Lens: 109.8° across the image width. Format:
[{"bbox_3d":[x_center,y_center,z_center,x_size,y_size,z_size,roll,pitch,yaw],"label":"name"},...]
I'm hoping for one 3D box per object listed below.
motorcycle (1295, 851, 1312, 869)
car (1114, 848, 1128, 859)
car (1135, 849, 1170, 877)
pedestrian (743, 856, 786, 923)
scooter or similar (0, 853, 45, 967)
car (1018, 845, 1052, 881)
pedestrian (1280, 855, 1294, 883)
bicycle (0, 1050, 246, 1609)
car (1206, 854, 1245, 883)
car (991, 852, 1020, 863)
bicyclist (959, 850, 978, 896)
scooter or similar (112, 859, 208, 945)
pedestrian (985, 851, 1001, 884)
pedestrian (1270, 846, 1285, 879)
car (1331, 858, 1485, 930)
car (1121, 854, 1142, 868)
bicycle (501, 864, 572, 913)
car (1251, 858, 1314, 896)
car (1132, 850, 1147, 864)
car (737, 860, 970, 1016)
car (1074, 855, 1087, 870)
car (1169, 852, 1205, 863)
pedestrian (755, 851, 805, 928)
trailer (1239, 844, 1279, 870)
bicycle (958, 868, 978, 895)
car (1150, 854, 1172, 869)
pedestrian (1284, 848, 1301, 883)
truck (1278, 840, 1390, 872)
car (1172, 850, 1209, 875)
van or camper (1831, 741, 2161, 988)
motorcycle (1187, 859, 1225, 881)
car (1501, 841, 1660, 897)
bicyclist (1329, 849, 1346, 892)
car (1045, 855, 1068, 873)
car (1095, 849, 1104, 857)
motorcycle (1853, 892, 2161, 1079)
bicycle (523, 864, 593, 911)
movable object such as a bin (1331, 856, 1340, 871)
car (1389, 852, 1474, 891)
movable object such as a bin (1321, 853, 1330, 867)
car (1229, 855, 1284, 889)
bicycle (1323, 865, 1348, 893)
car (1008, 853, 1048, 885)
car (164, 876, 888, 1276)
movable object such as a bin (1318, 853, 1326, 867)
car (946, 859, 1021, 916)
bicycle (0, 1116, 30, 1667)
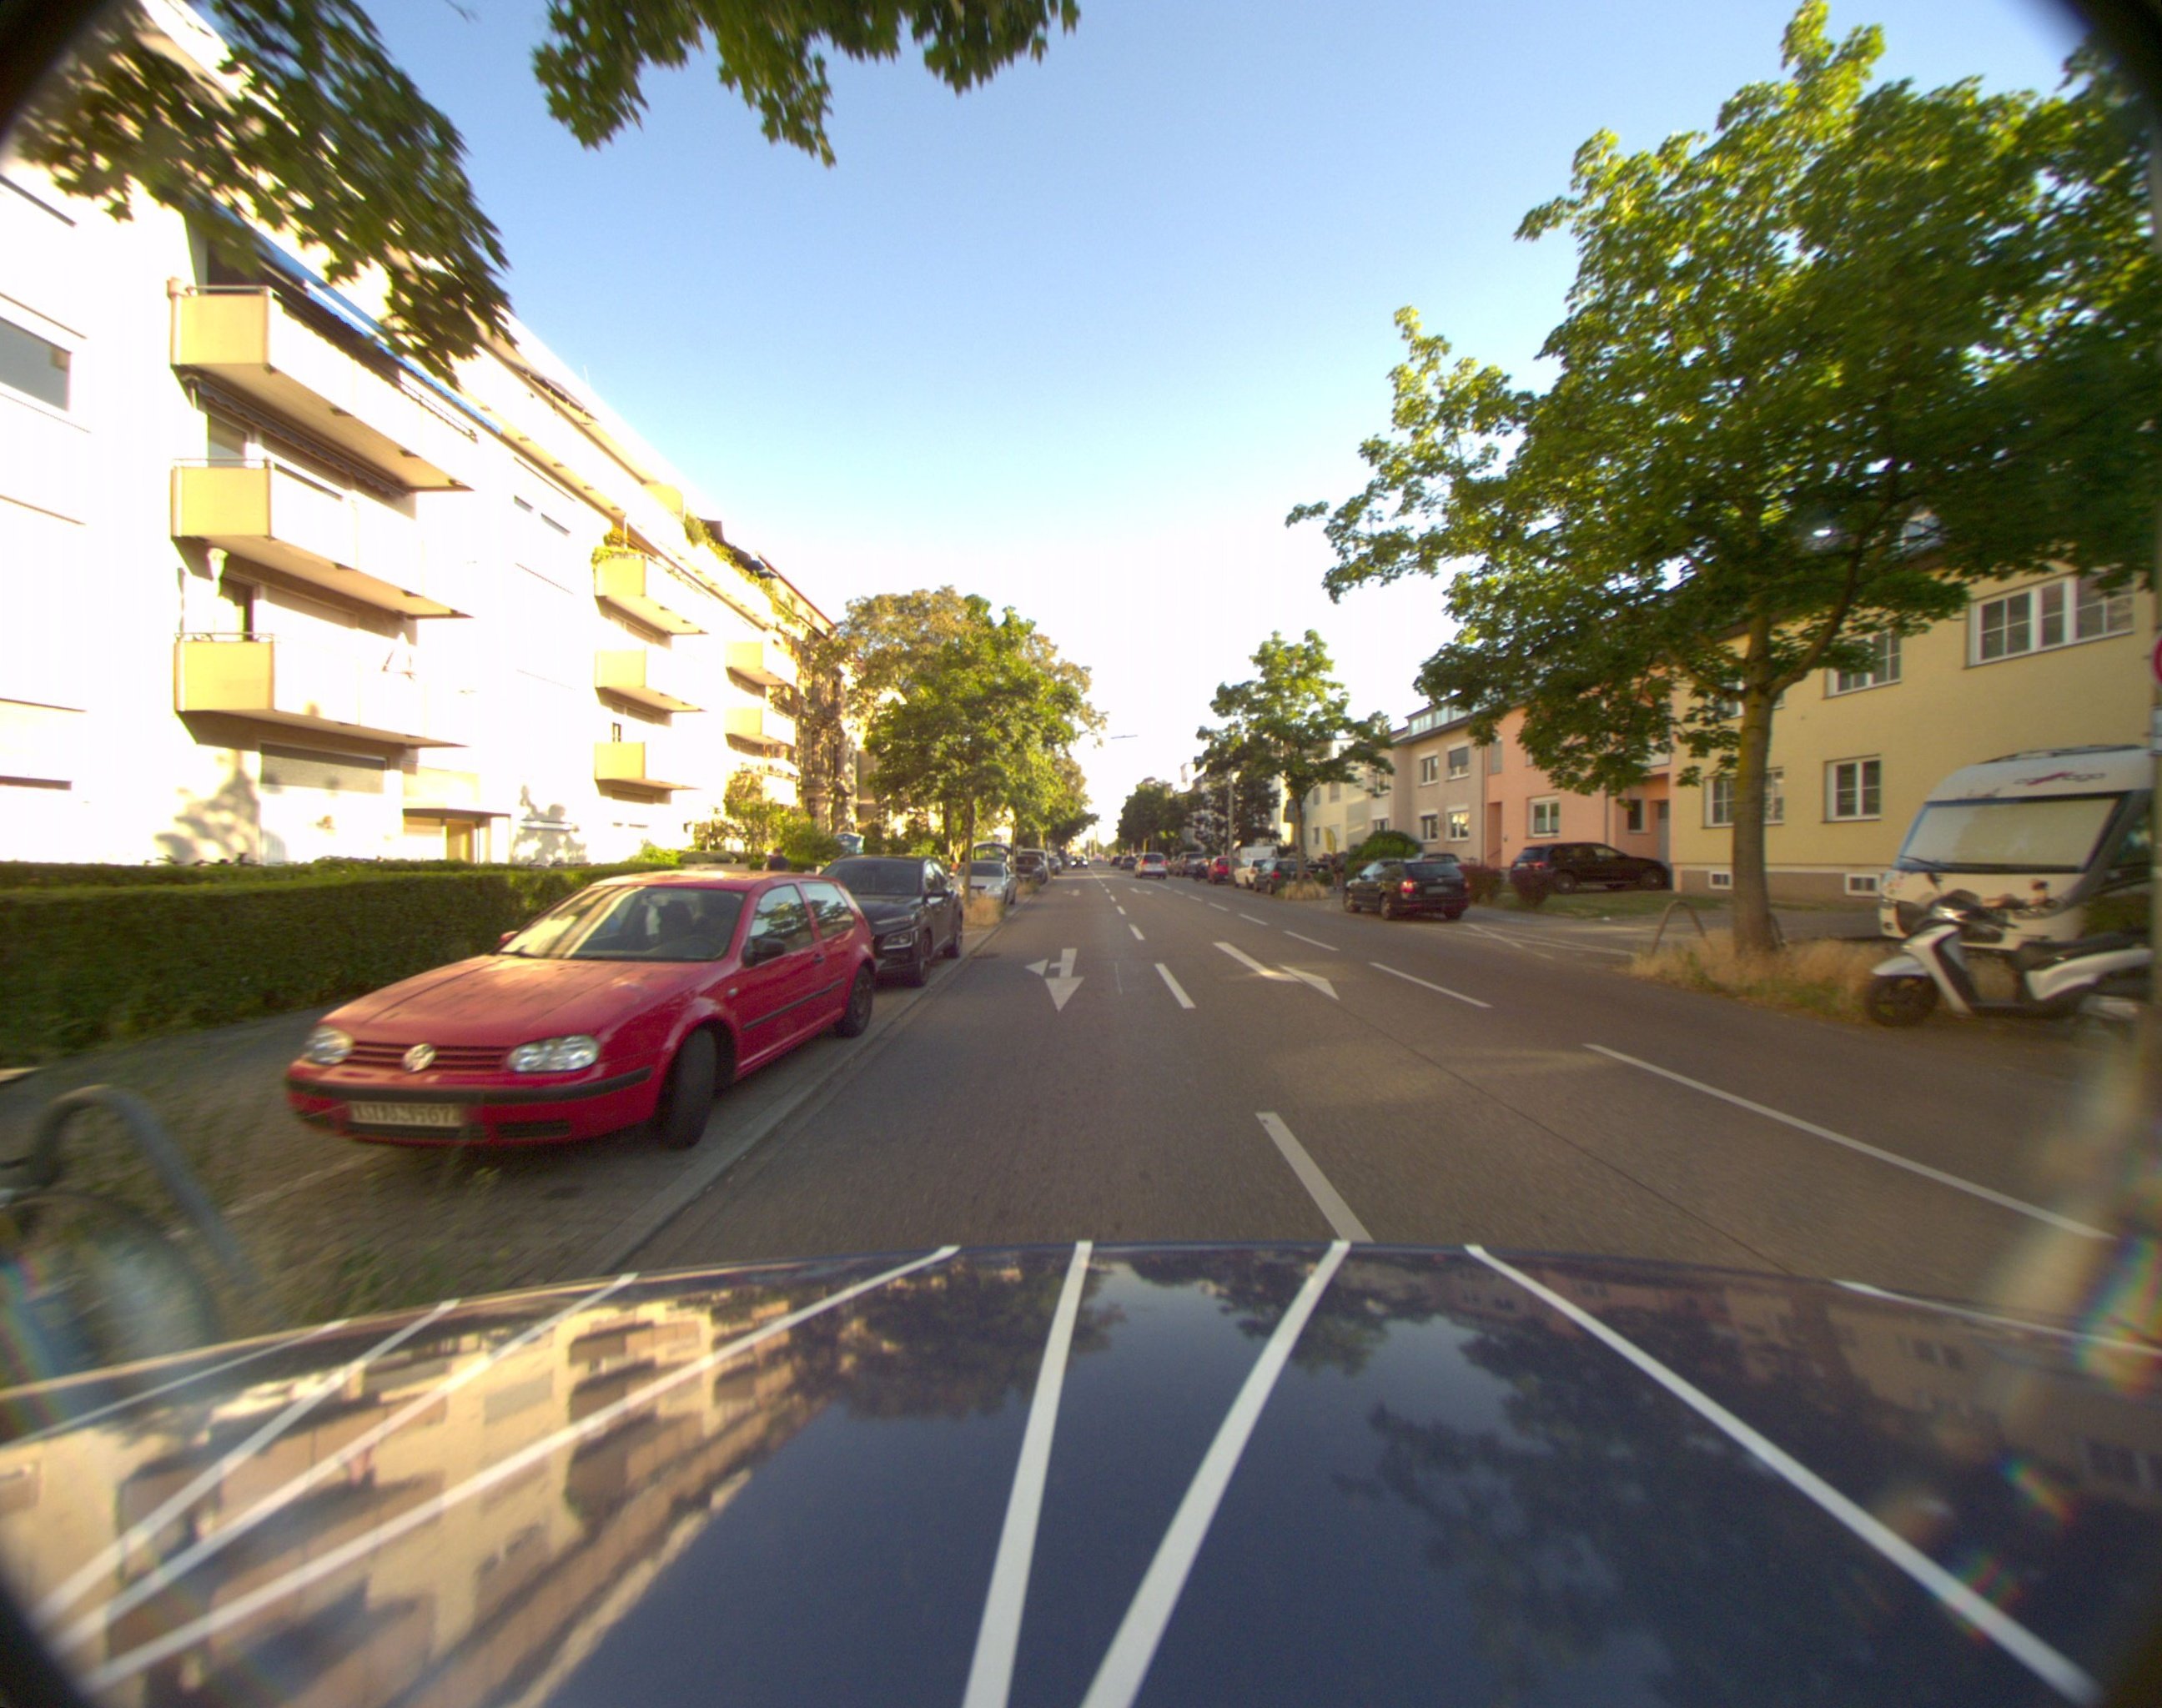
[{"bbox_3d":[17.066,0.436,58.275,0.572,1.366,2.258,1,1,0],"label":"motorcycle"},{"bbox_3d":[5.804,-0.100,110.467,1.840,1.561,3.999,2,1,0],"label":"car"},{"bbox_3d":[4.808,0.586,51.597,1.810,1.794,4.745,1,0,0],"label":"car"},{"bbox_3d":[-7.370,0.808,17.704,0.592,1.531,0.697,1,1,37],"label":"pedestrian"},{"bbox_3d":[-13.890,0.704,9.620,0.616,1.433,0.668,0,1,0],"label":"scooter or similar"},{"bbox_3d":[-2.808,0.534,47.206,1.908,2.091,4.640,0,0,-2],"label":"car"},{"bbox_3d":[10.792,0.782,39.855,0.591,1.487,0.542,0,1,3],"label":"pedestrian"},{"bbox_3d":[-3.010,1.070,1.827,1.574,1.097,0.392,0,1,1],"label":"bicycle"},{"bbox_3d":[7.861,0.741,41.569,1.596,1.514,3.437,0,0,3],"label":"car"},{"bbox_3d":[-10.325,0.454,103.977,3.878,1.496,1.575,0,1,-5],"label":"car"},{"bbox_3d":[-4.377,0.736,29.540,0.582,1.778,0.852,0,1,0],"label":"bicyclist"},{"bbox_3d":[-13.952,0.710,11.527,0.616,1.265,0.668,0,1,0],"label":"scooter or similar"},{"bbox_3d":[-4.832,0.718,41.741,0.823,1.763,1.088,0,1,-4],"label":"pedestrian"},{"bbox_3d":[10.595,0.458,41.001,0.715,1.782,0.506,0,1,3],"label":"pedestrian"},{"bbox_3d":[7.921,0.882,18.934,1.872,1.486,4.517,-2,0,0],"label":"car"},{"bbox_3d":[5.290,0.716,79.850,1.765,1.443,4.533,2,0,-1],"label":"car"},{"bbox_3d":[-13.375,0.824,18.653,2.199,1.133,0.519,0,1,29],"label":"bicycle"},{"bbox_3d":[8.019,0.876,30.563,1.547,1.388,3.665,0,0,0],"label":"car"},{"bbox_3d":[8.069,0.401,104.613,1.740,1.799,4.191,0,0,0],"label":"car"},{"bbox_3d":[-2.708,0.907,10.063,1.860,1.572,4.013,1,0,0],"label":"car"},{"bbox_3d":[-0.040,0.987,92.125,1.596,1.696,3.999,0,0,0],"label":"car"},{"bbox_3d":[14.360,0.464,102.941,4.564,1.397,1.739,-2,1,-10],"label":"car"},{"bbox_3d":[-6.527,0.743,16.482,0.694,1.630,0.759,0,1,36],"label":"pedestrian"},{"bbox_3d":[14.001,0.231,59.891,2.780,2.002,1.552,0,1,-2],"label":"trailer"},{"bbox_3d":[-4.381,1.050,29.549,0.517,0.981,1.831,0,0,0],"label":"bicycle"},{"bbox_3d":[7.768,0.695,74.126,1.641,1.399,4.443,0,0,0],"label":"car"},{"bbox_3d":[10.720,0.575,38.494,0.715,1.782,0.572,0,1,3],"label":"pedestrian"},{"bbox_3d":[17.208,0.132,51.960,6.912,2.172,2.276,0,0,0],"label":"truck"},{"bbox_3d":[7.991,0.601,55.830,1.892,1.769,4.725,0,0,-1],"label":"car"},{"bbox_3d":[14.331,-0.002,9.892,6.815,2.756,2.351,-3,1,-1],"label":"van or camper"},{"bbox_3d":[7.499,0.920,45.773,1.184,1.258,2.365,0,0,-24],"label":"motorcycle"},{"bbox_3d":[16.412,0.461,25.114,3.997,1.626,1.866,-2,0,1],"label":"car"},{"bbox_3d":[10.075,0.644,29.891,0.470,1.653,0.552,0,1,-1],"label":"bicyclist"},{"bbox_3d":[-1.987,0.788,62.146,1.762,1.412,4.614,2,0,0],"label":"car"},{"bbox_3d":[4.342,-0.336,179.028,1.893,1.793,4.430,2,0,-2],"label":"car"},{"bbox_3d":[7.650,0.982,6.025,2.048,1.257,0.769,0,1,38],"label":"motorcycle"},{"bbox_3d":[-13.287,0.818,19.289,2.199,1.133,0.519,0,1,29],"label":"bicycle"},{"bbox_3d":[18.094,0.668,53.997,0.504,1.013,0.450,0,1,-1],"label":"movable object such as a bin"},{"bbox_3d":[13.629,0.631,29.767,1.669,1.401,3.753,1,0,1],"label":"car"},{"bbox_3d":[18.017,0.444,55.963,0.504,1.013,0.450,0,1,-1],"label":"movable object such as a bin"},{"bbox_3d":[8.187,0.798,35.741,1.597,1.514,3.890,0,0,-1],"label":"car"},{"bbox_3d":[10.029,0.980,29.986,0.487,1.058,1.534,0,0,-1],"label":"bicycle"},{"bbox_3d":[-2.815,0.767,41.126,1.860,1.594,4.311,2,0,0],"label":"car"},{"bbox_3d":[-2.804,0.950,5.100,1.707,1.441,4.014,1,0,4],"label":"car"},{"bbox_3d":[17.934,0.445,56.531,0.504,1.013,0.450,0,1,-1],"label":"movable object such as a bin"},{"bbox_3d":[-2.834,0.931,22.976,1.712,1.472,4.268,2,0,0],"label":"car"},{"bbox_3d":[-2.967,1.089,1.326,1.574,1.097,0.501,0,1,1],"label":"bicycle"}]
